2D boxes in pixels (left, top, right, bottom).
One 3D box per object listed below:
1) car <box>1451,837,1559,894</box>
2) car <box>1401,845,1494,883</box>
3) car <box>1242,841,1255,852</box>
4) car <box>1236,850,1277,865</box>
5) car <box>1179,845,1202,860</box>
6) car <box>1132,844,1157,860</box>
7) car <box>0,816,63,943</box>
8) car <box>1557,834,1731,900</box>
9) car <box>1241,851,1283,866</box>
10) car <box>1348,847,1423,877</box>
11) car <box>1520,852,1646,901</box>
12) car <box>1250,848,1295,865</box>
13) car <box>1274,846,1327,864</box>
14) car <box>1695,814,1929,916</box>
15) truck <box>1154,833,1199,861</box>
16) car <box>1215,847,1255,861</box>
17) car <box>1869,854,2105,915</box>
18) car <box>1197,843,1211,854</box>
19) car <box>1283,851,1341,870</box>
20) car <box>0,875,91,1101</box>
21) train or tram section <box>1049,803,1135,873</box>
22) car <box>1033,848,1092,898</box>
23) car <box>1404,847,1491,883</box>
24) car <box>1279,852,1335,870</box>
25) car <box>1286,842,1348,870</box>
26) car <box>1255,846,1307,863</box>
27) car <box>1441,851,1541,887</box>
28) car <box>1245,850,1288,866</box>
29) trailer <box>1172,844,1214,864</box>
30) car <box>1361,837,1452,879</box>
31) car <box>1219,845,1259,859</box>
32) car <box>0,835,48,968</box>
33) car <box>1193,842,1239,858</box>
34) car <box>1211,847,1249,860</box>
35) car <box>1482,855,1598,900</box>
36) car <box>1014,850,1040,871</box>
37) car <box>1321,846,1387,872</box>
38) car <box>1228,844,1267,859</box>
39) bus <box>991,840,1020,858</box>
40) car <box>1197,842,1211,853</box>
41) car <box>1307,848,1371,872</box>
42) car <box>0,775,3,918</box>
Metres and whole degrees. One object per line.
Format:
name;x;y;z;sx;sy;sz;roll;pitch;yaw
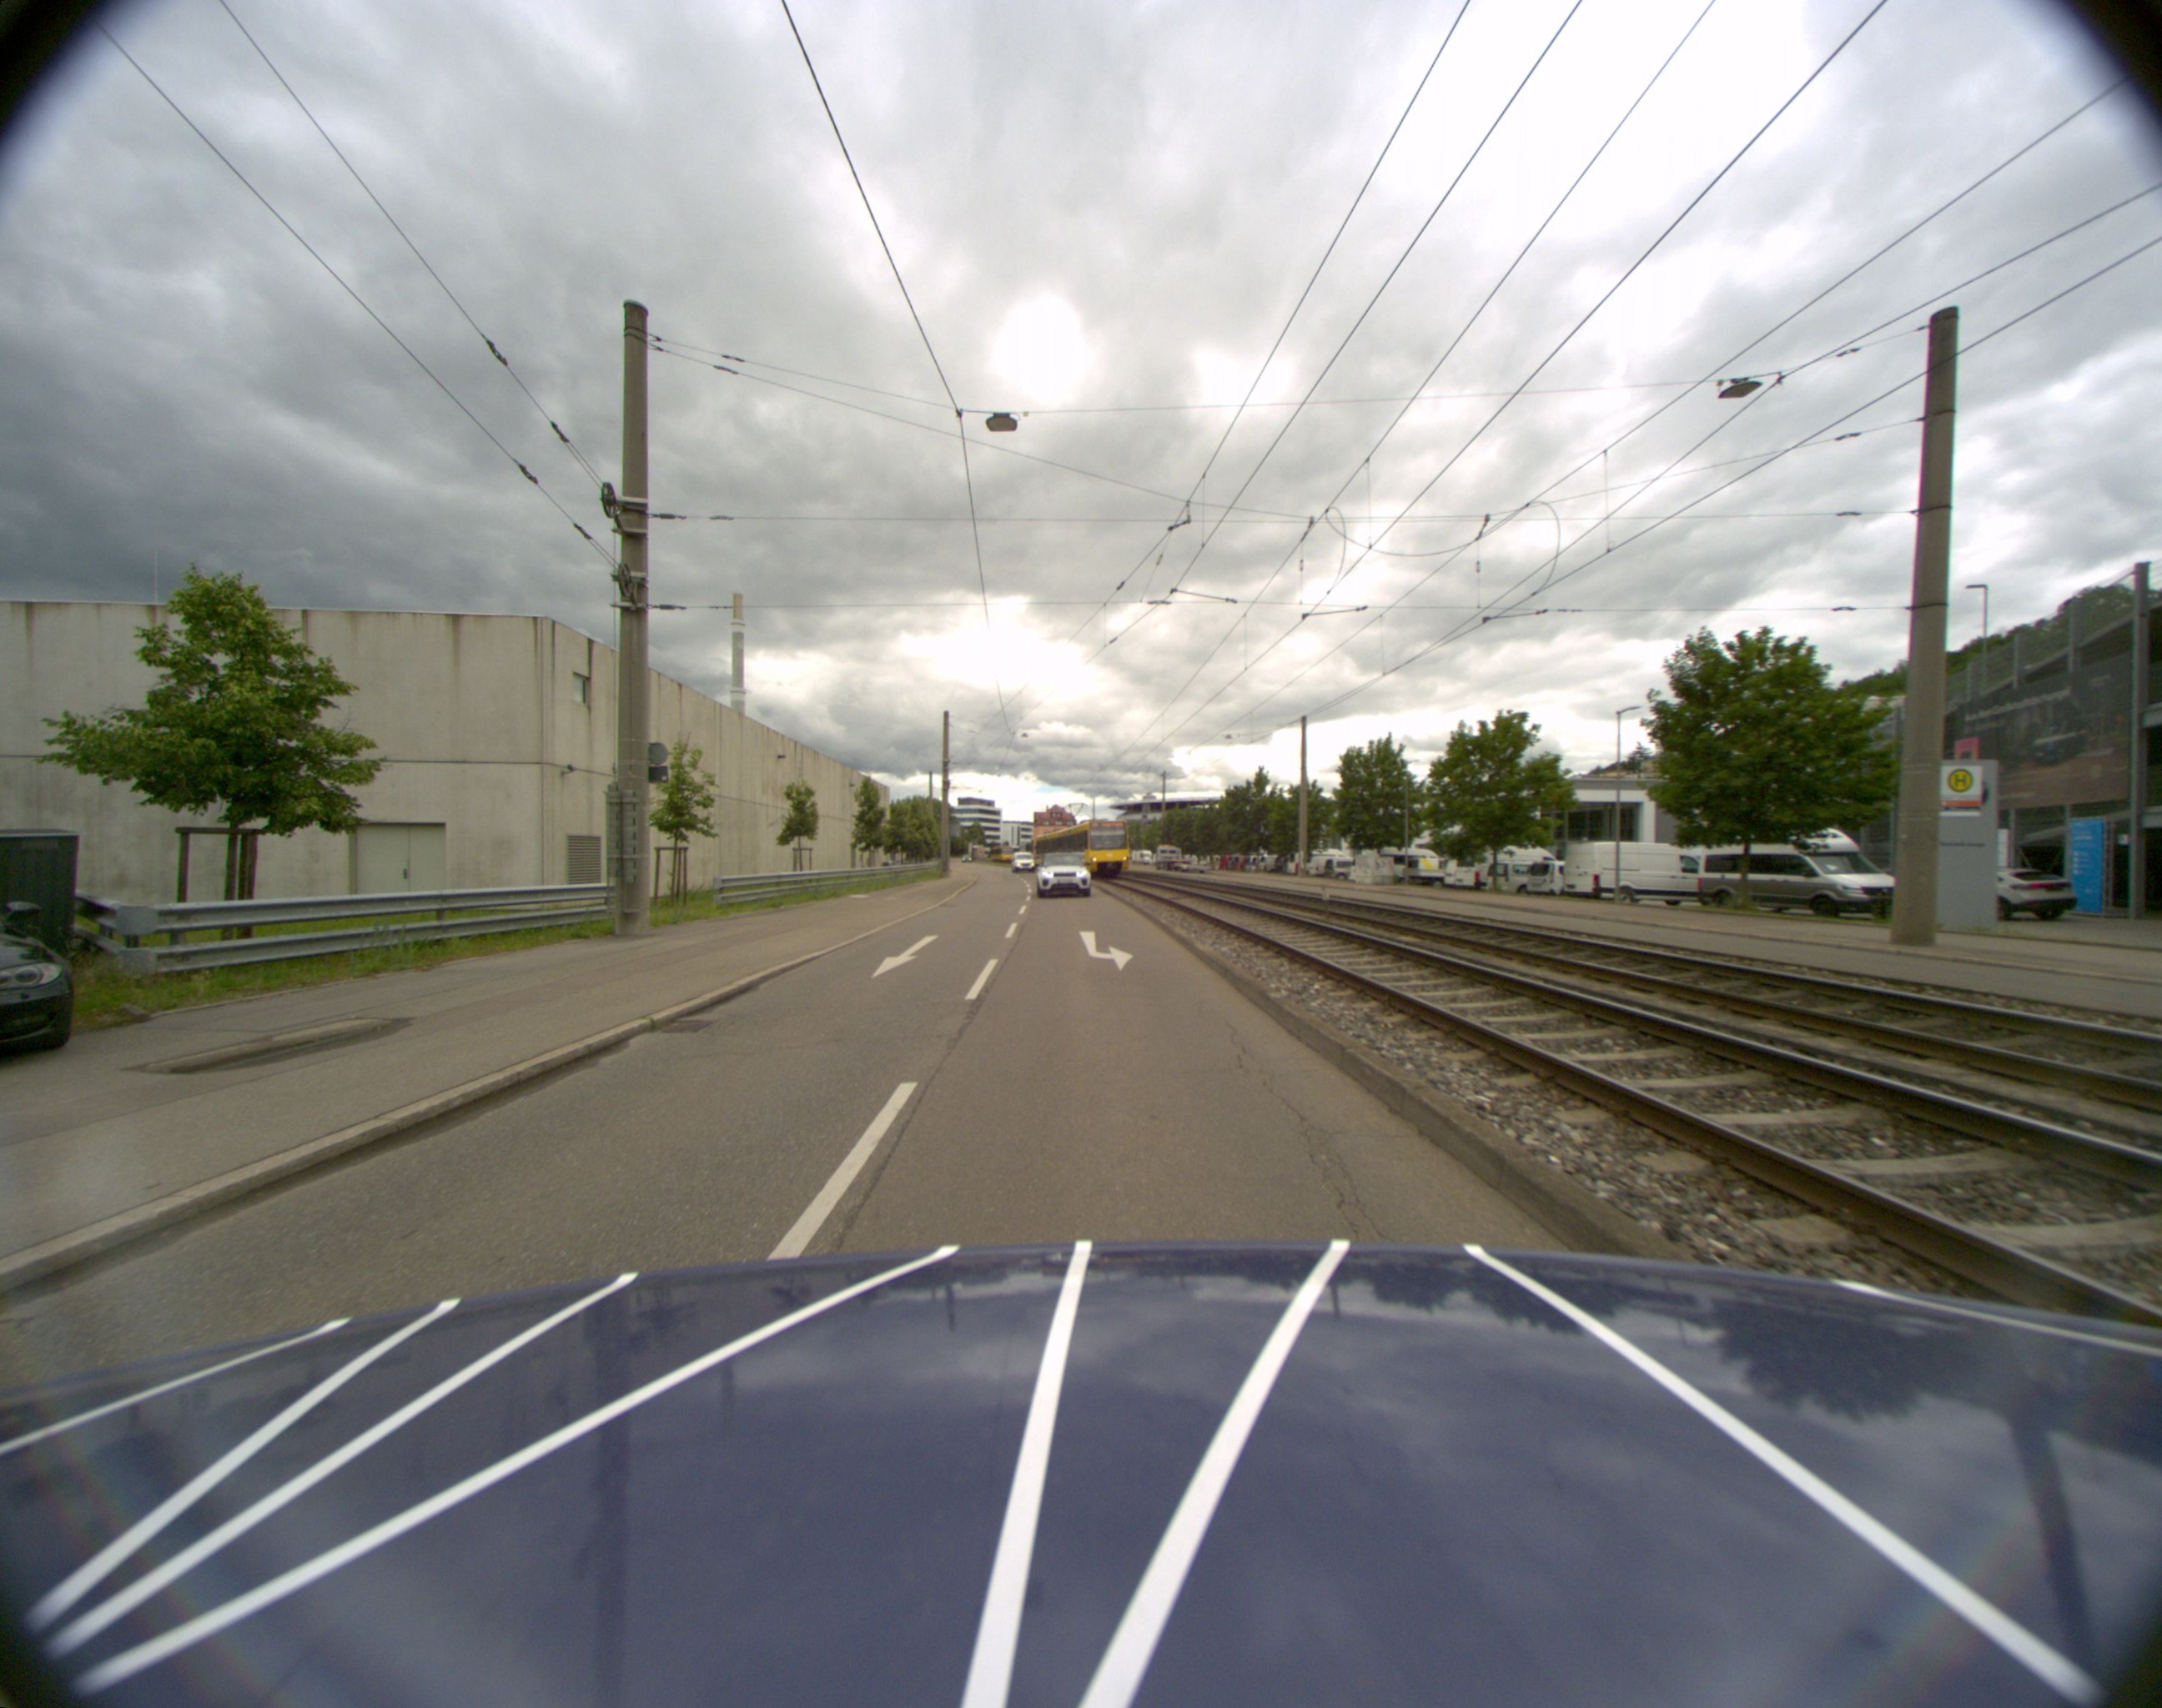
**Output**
car;21.393;0.575;38.447;4.379;2.803;2.003;0;1;-6
car;20.966;0.558;43.529;4.379;2.160;2.003;0;1;-6
car;30.858;-1.332;139.699;1.996;2.002;4.005;0;1;18
car;19.143;0.404;82.966;3.997;1.608;2.000;0;1;-1
car;15.532;-0.241;107.964;2.000;2.002;4.857;0;1;-8
car;10.940;-0.347;130.666;2.002;2.546;5.852;0;0;-20
car;-17.201;0.365;9.882;1.855;1.821;4.550;1;1;31
car;22.765;0.509;30.893;5.488;2.587;2.246;0;1;-2
car;19.231;0.480;80.881;3.997;1.608;2.000;0;1;-1
car;21.085;0.547;52.756;4.379;1.999;2.003;0;1;-6
car;22.146;0.958;33.597;4.379;2.093;2.003;0;1;-6
car;19.034;0.235;75.619;3.997;1.608;2.000;0;1;-1
car;20.345;0.090;70.495;4.377;1.676;2.004;0;1;-1
car;24.143;0.313;25.574;2.113;3.002;5.936;0;0;0
truck;9.902;-0.692;80.121;2.764;2.725;9.214;2;0;-5
car;18.495;0.001;91.437;4.356;1.608;2.119;0;0;-1
car;26.957;0.837;22.858;2.000;1.608;4.132;0;1;-6
car;23.049;-1.097;142.008;1.996;2.002;4.005;0;0;18
car;19.985;0.541;65.850;4.379;1.679;2.030;0;1;-6
car;-9.475;0.901;5.625;4.222;1.435;1.766;2;1;26
train or tram section;0.309;-1.070;52.663;3.399;3.984;16.929;-2;1;-8
car;-0.671;0.652;28.483;1.999;1.718;3.999;-1;0;-1
car;22.201;0.635;46.154;4.379;2.160;2.003;0;1;-6
car;20.237;0.597;68.101;4.377;1.608;2.004;0;1;-1
car;19.509;0.157;62.911;4.508;2.298;2.125;0;1;-1
car;19.149;0.021;72.891;4.378;1.608;2.003;0;1;-3
car;22.109;0.794;41.060;4.379;1.899;2.003;0;1;-6
car;19.110;0.392;78.458;3.997;1.608;2.000;0;1;-1
trailer;10.576;-0.031;72.086;2.389;1.688;6.944;2;0;-5
car;20.909;0.250;48.948;4.981;2.683;2.114;0;1;-6
car;18.279;-0.274;88.204;4.189;1.608;2.062;0;1;-1
car;-14.927;0.553;8.065;2.154;1.539;4.530;3;2;40
car;17.704;-0.575;99.763;5.703;1.996;2.146;1;1;15
car;18.478;-0.035;94.348;4.348;1.608;2.154;0;0;-1
car;21.778;1.086;36.127;4.379;2.093;2.003;0;1;-6
car;-4.952;0.557;69.156;2.000;1.882;4.623;0;0;-8
car;20.908;0.396;58.299;4.377;1.936;2.004;0;1;-1
car;18.717;-0.272;85.514;3.997;1.655;2.047;0;1;-1
bus;-17.277;-1.266;173.736;3.565;3.931;10.470;-2;2;-23
car;23.082;-1.169;142.768;1.996;2.002;4.005;0;1;18
car;20.544;0.473;60.589;4.377;1.834;2.004;0;1;-1
car;-21.758;-0.137;11.927;2.090;2.574;5.434;1;1;32
